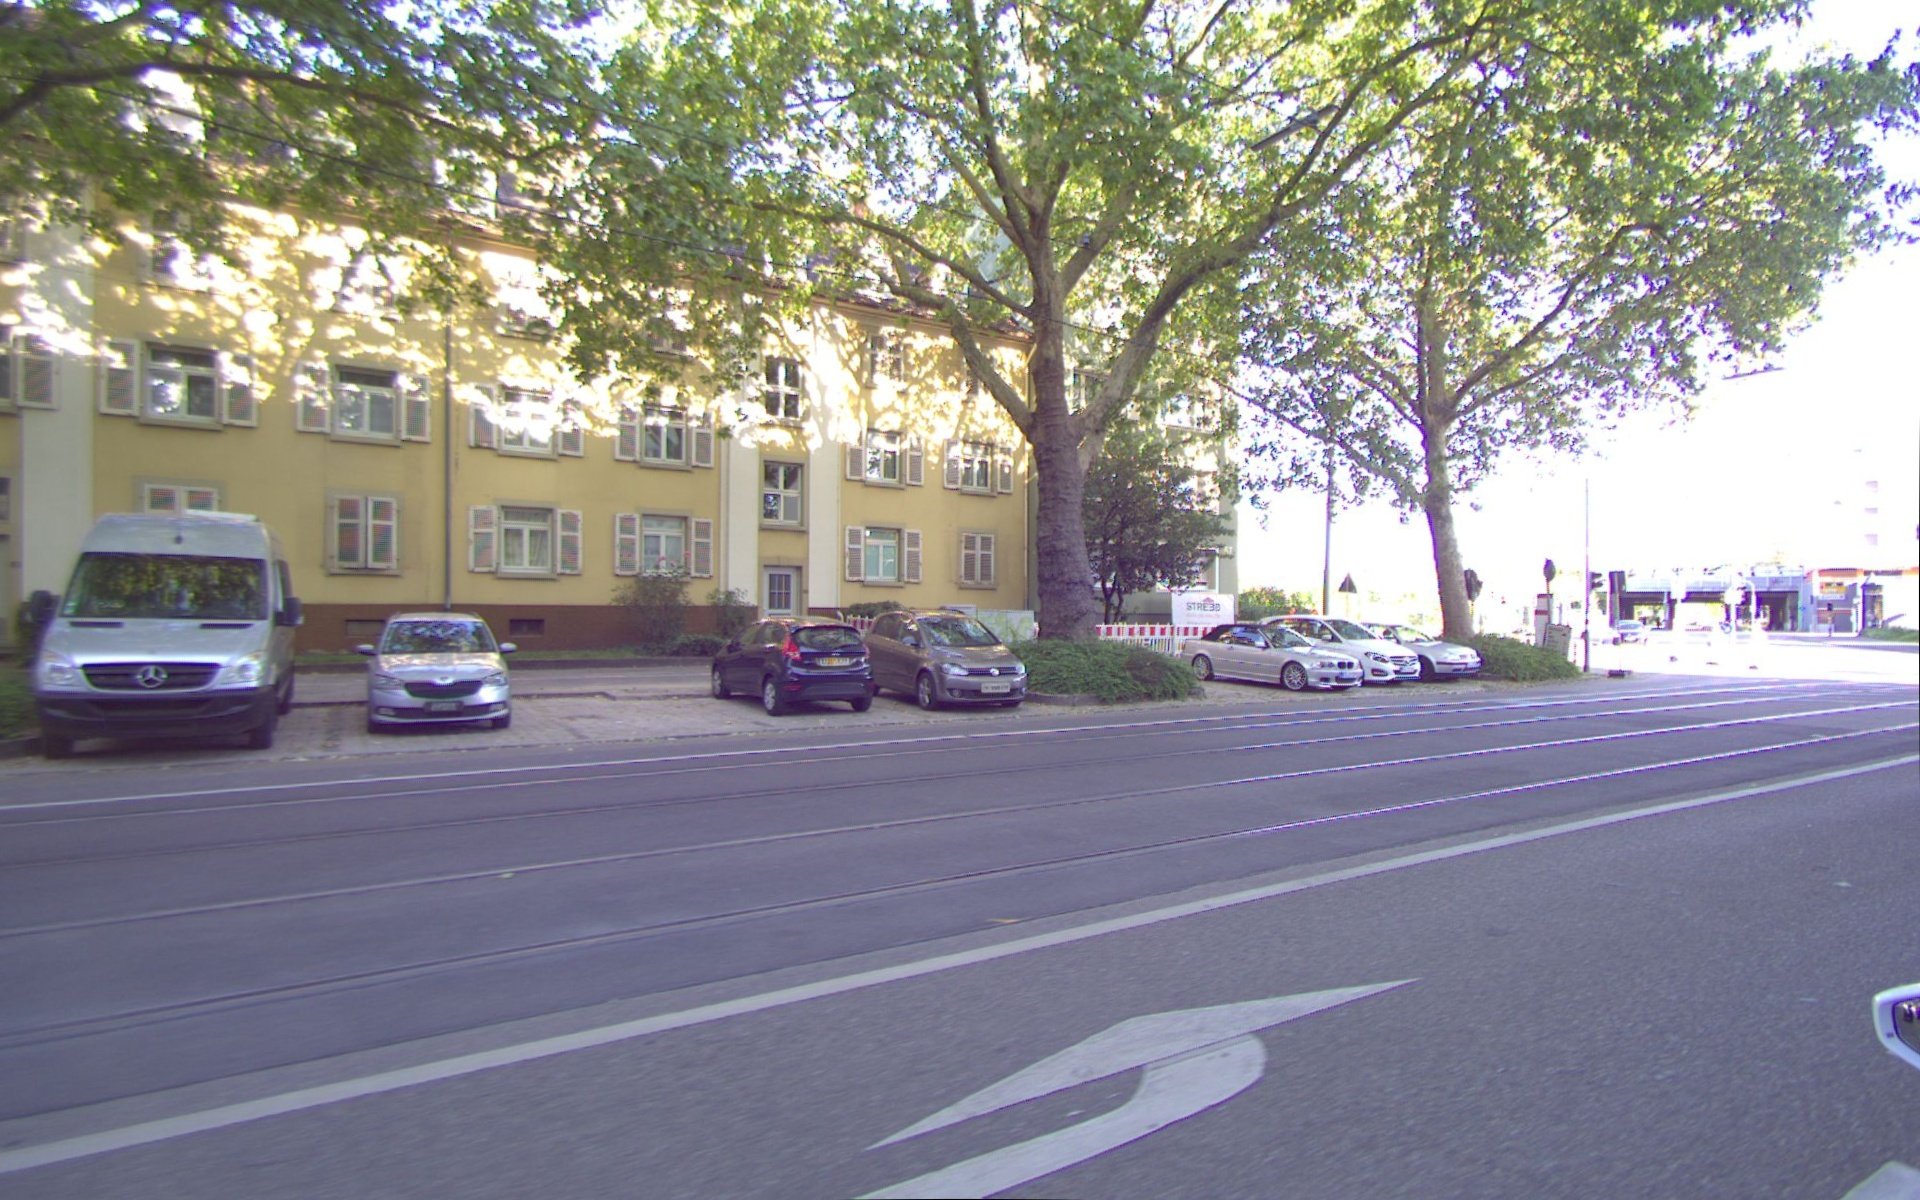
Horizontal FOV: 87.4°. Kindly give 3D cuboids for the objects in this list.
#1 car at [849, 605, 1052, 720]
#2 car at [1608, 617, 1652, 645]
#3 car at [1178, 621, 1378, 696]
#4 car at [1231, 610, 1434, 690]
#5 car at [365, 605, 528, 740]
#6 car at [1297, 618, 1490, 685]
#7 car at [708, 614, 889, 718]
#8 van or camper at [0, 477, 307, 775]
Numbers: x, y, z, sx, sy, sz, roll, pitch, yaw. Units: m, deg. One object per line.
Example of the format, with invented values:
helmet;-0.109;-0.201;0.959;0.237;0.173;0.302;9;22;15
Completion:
car;-0.309;0.980;17.632;1.793;1.627;4.169;1;1;-29
car;41.341;1.897;61.968;1.803;1.539;3.876;3;1;40
car;7.018;1.236;22.610;1.708;1.386;4.220;1;0;-31
car;8.977;1.140;24.646;1.777;1.640;4.587;1;1;-30
car;-7.226;0.888;13.995;1.710;1.489;4.124;2;0;-30
car;11.062;1.262;25.982;1.656;1.448;4.490;1;0;-30
car;-2.743;0.991;16.469;1.723;1.448;3.545;1;0;-31
van or camper;-9.428;0.227;12.270;2.204;2.713;6.078;1;0;-31
